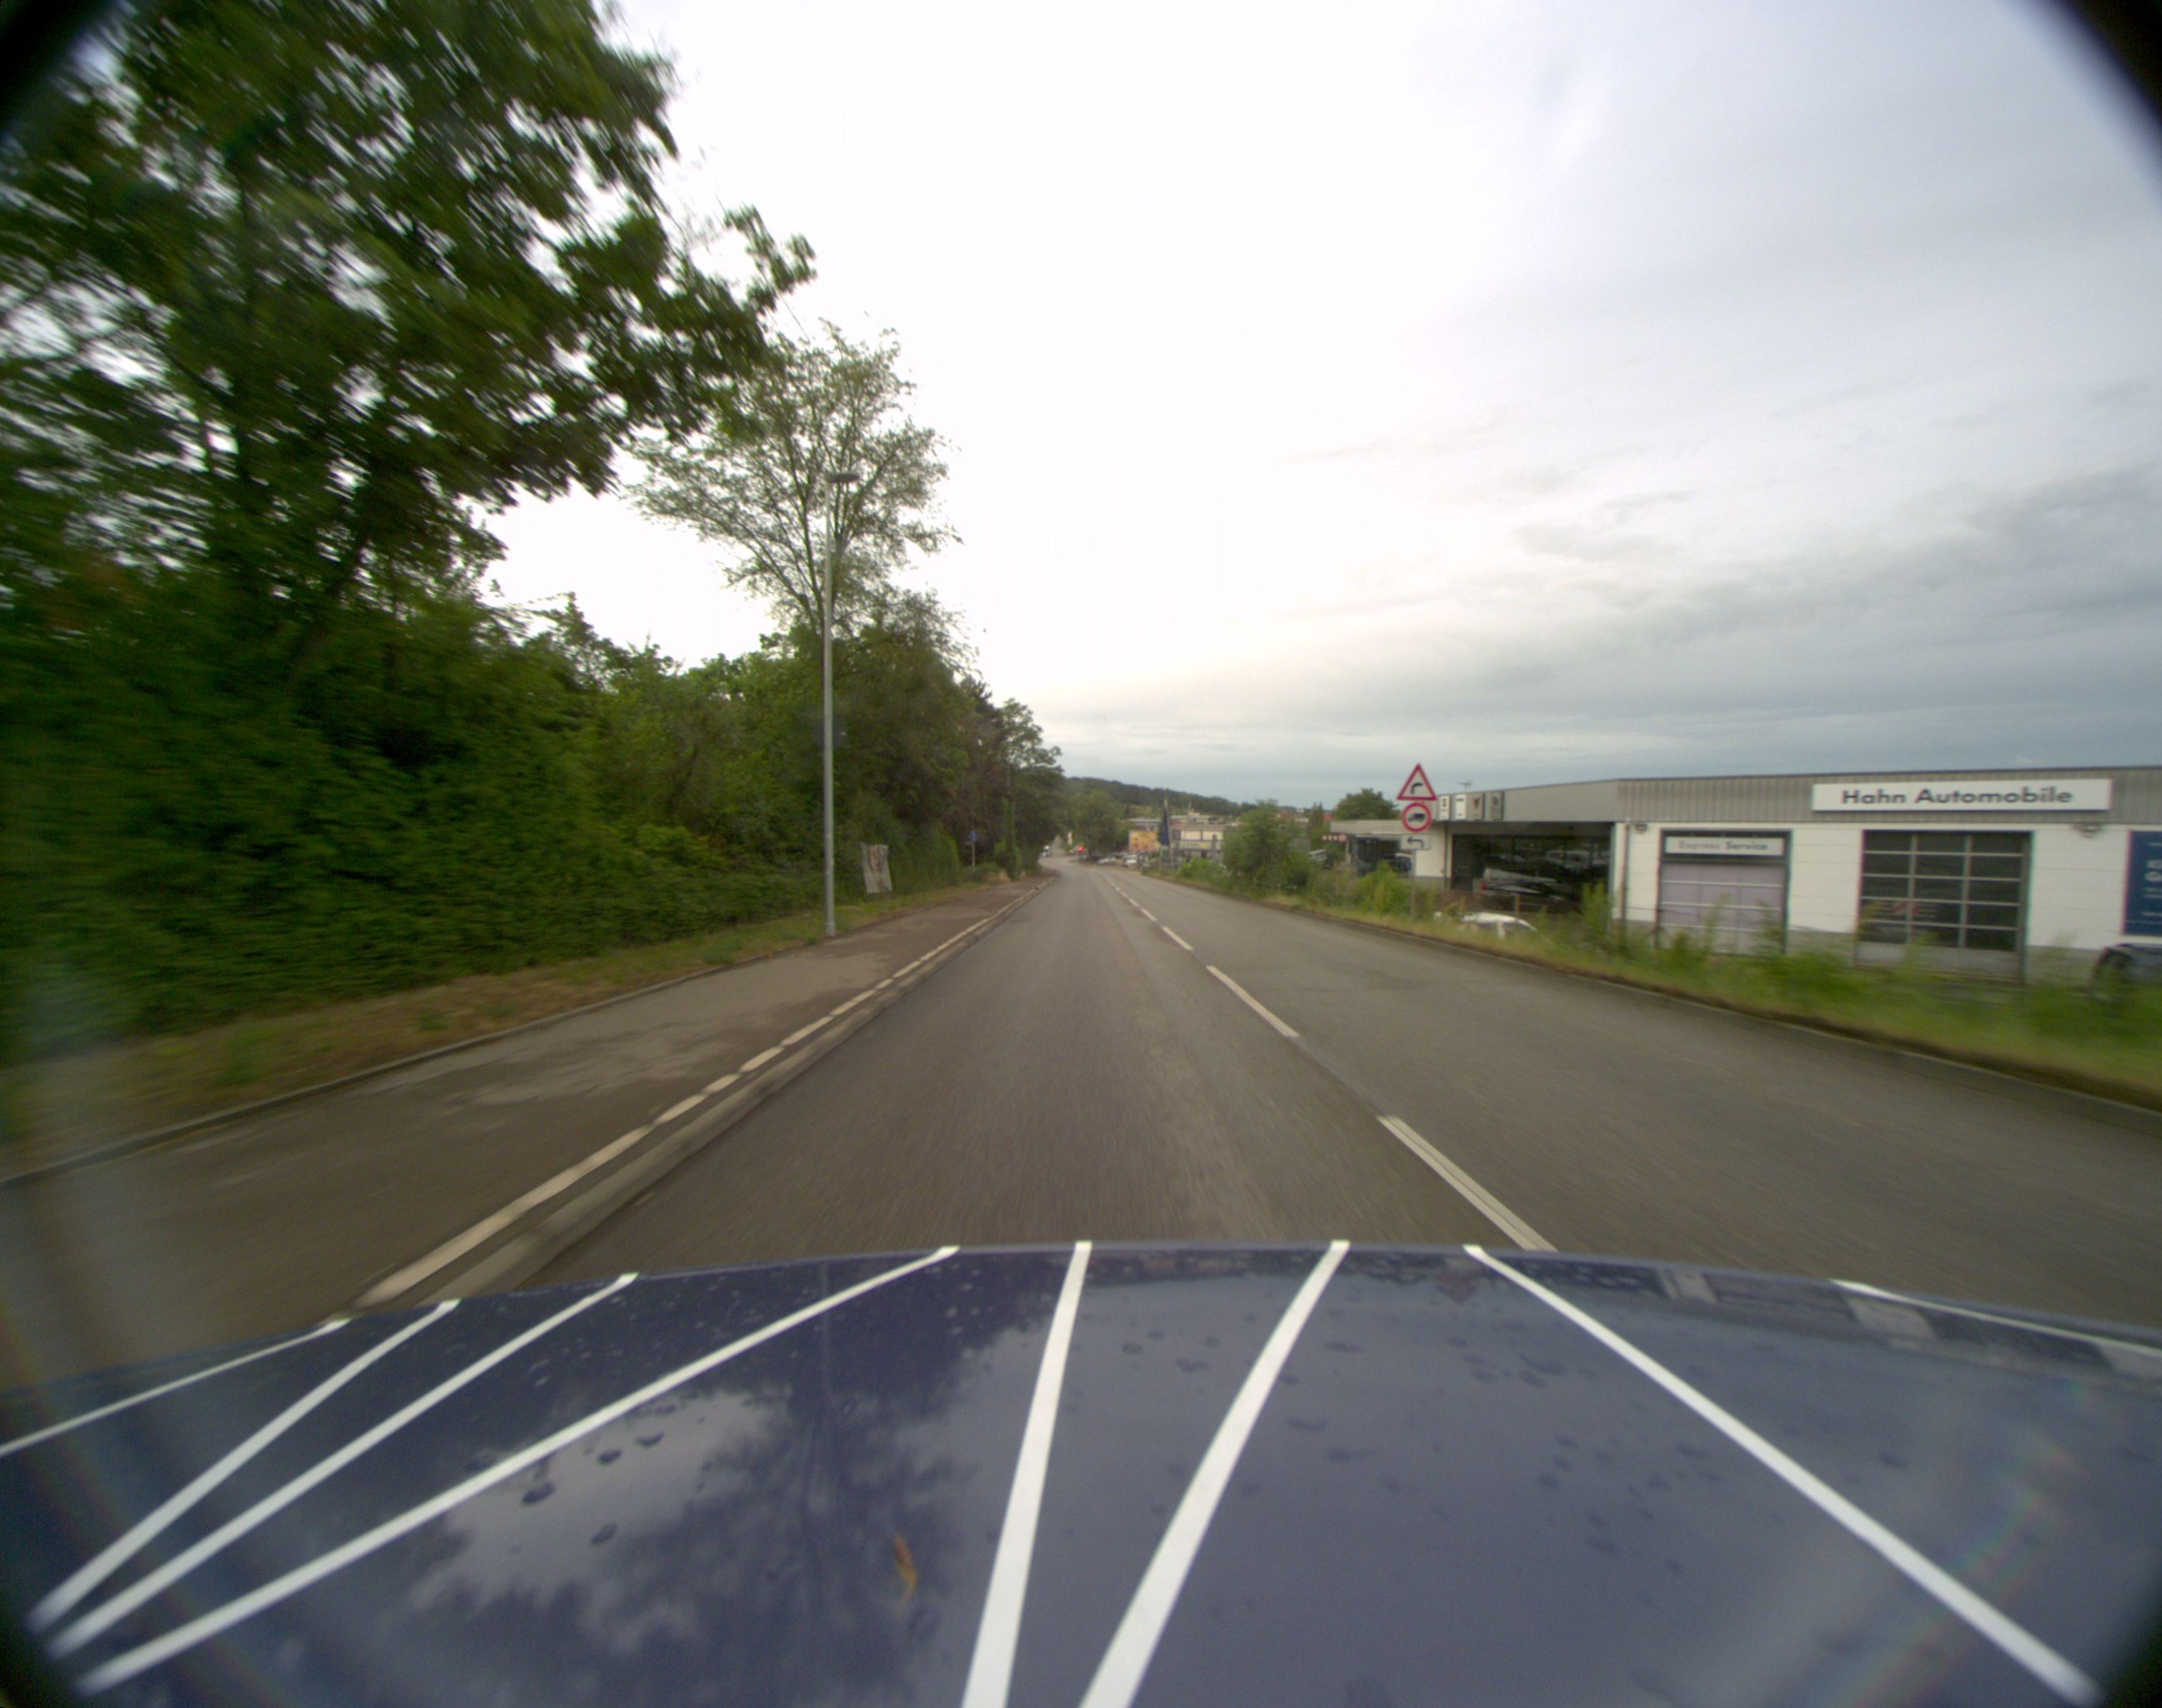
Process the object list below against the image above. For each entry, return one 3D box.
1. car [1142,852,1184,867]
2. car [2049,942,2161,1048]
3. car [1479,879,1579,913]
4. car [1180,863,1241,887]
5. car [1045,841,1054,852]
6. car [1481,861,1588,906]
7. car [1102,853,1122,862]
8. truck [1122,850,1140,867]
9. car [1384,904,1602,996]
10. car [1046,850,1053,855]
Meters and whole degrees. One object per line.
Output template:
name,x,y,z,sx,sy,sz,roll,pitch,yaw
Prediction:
car,10.611,0.759,98.428,5.084,1.859,1.821,1,1,-9
car,22.006,2.882,14.066,4.625,1.793,1.872,5,0,37
car,21.497,1.995,36.486,4.010,1.407,1.958,0,0,34
car,10.185,1.645,59.847,4.424,1.787,1.934,0,0,-1
car,-9.431,-2.256,229.181,2.575,2.759,6.122,2,4,-2
car,23.350,1.480,39.185,4.471,1.949,1.993,3,2,35
car,6.355,0.699,156.479,4.016,1.561,1.716,-2,2,-39
truck,8.186,0.636,124.445,1.999,2.617,7.889,1,0,-3
car,10.701,2.470,19.948,4.639,1.793,1.867,5,0,-3
car,-8.852,-0.421,212.022,1.770,1.460,3.997,1,1,-5
